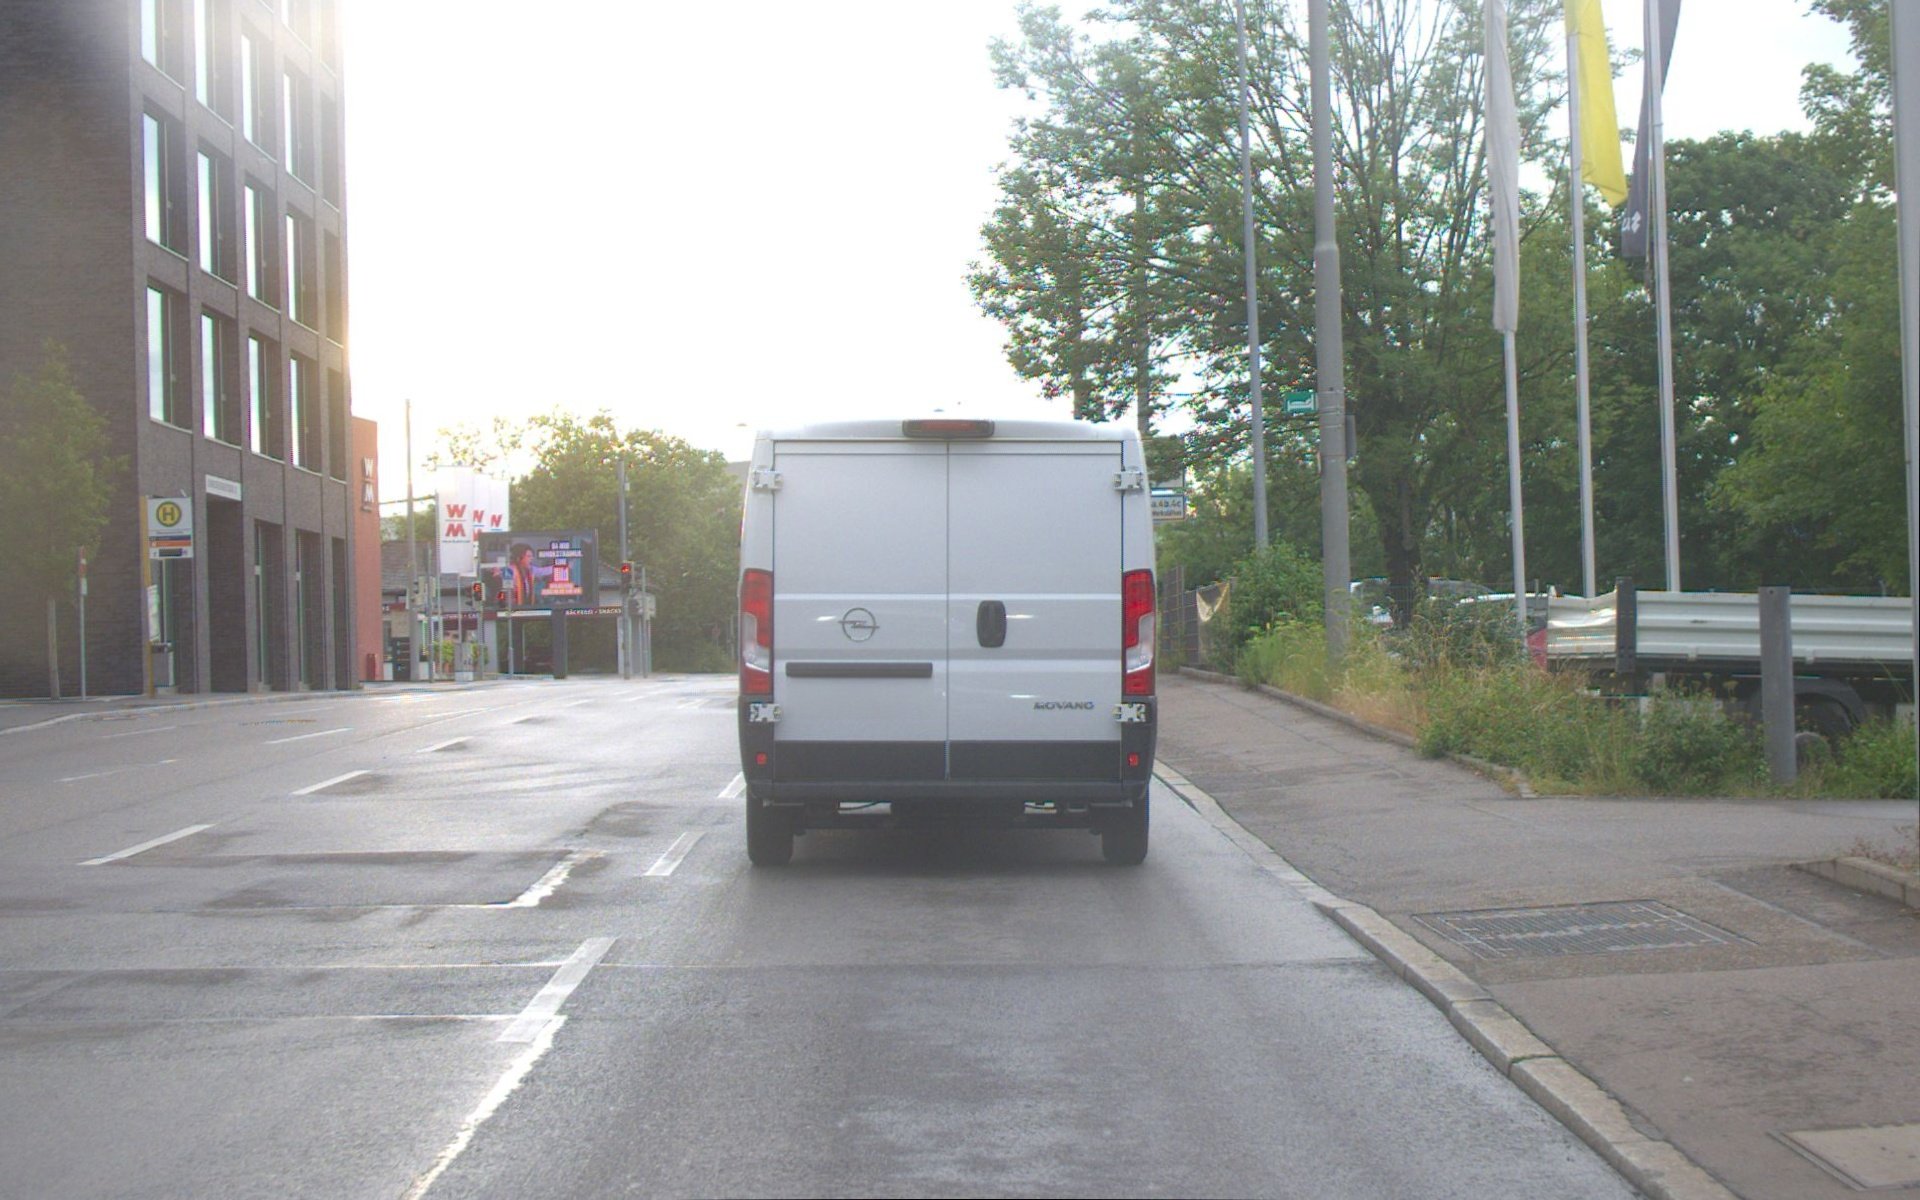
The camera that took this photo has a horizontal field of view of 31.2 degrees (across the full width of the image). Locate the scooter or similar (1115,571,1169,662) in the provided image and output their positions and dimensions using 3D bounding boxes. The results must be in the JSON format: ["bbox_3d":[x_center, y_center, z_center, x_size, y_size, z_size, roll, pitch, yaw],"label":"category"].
[{"bbox_3d":[3.162,0.275,59.925,0.434,1.559,1.273,-1,1,-22],"label":"scooter or similar"}]

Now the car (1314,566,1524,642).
[{"bbox_3d":[9.441,0.077,70.891,3.986,1.516,1.804,0,0,-5],"label":"car"}]

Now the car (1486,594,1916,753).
[{"bbox_3d":[7.711,0.748,36.040,4.129,1.583,1.760,0,1,0],"label":"car"}]

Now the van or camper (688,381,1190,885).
[{"bbox_3d":[-0.088,0.116,18.700,2.340,2.349,5.199,0,1,0],"label":"van or camper"}]

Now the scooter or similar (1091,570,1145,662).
[{"bbox_3d":[2.745,0.268,59.748,0.434,1.582,1.273,-1,1,-23],"label":"scooter or similar"}]

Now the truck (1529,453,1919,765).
[{"bbox_3d":[6.670,0.026,23.407,5.147,2.007,2.345,0,1,-2],"label":"truck"}]

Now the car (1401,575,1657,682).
[{"bbox_3d":[9.911,0.482,60.019,3.986,1.516,1.804,-5,1,-5],"label":"car"}]
